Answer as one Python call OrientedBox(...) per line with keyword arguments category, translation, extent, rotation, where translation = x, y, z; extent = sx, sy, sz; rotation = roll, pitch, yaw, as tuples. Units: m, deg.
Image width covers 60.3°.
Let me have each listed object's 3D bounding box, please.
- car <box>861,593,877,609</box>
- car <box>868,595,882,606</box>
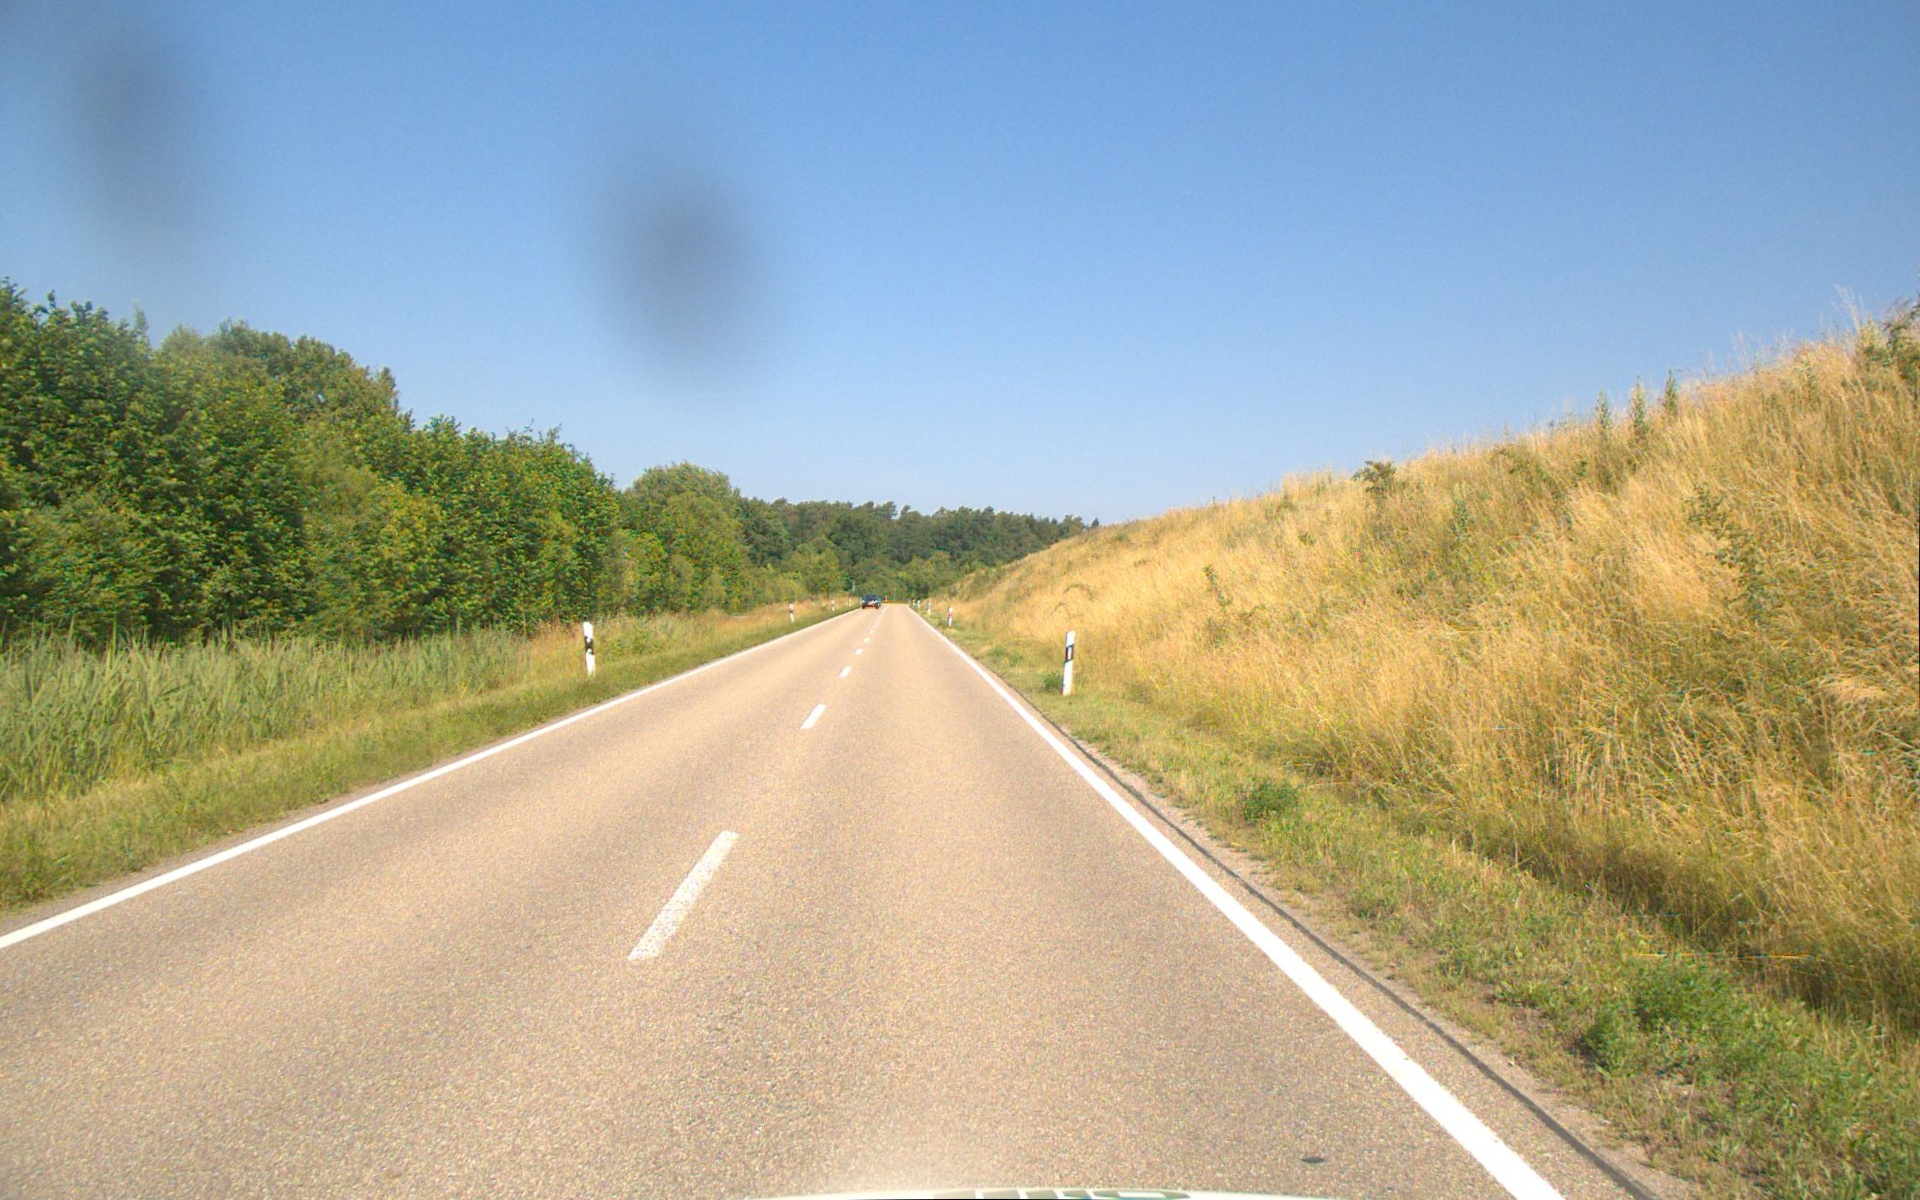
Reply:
OrientedBox(category="car", translation=(-9.950, 0.126, 180.524), extent=(1.682, 1.675, 3.912), rotation=(1, 0, -3))
OrientedBox(category="car", translation=(-10.663, 0.087, 207.313), extent=(1.688, 1.377, 3.998), rotation=(2, 0, -3))
